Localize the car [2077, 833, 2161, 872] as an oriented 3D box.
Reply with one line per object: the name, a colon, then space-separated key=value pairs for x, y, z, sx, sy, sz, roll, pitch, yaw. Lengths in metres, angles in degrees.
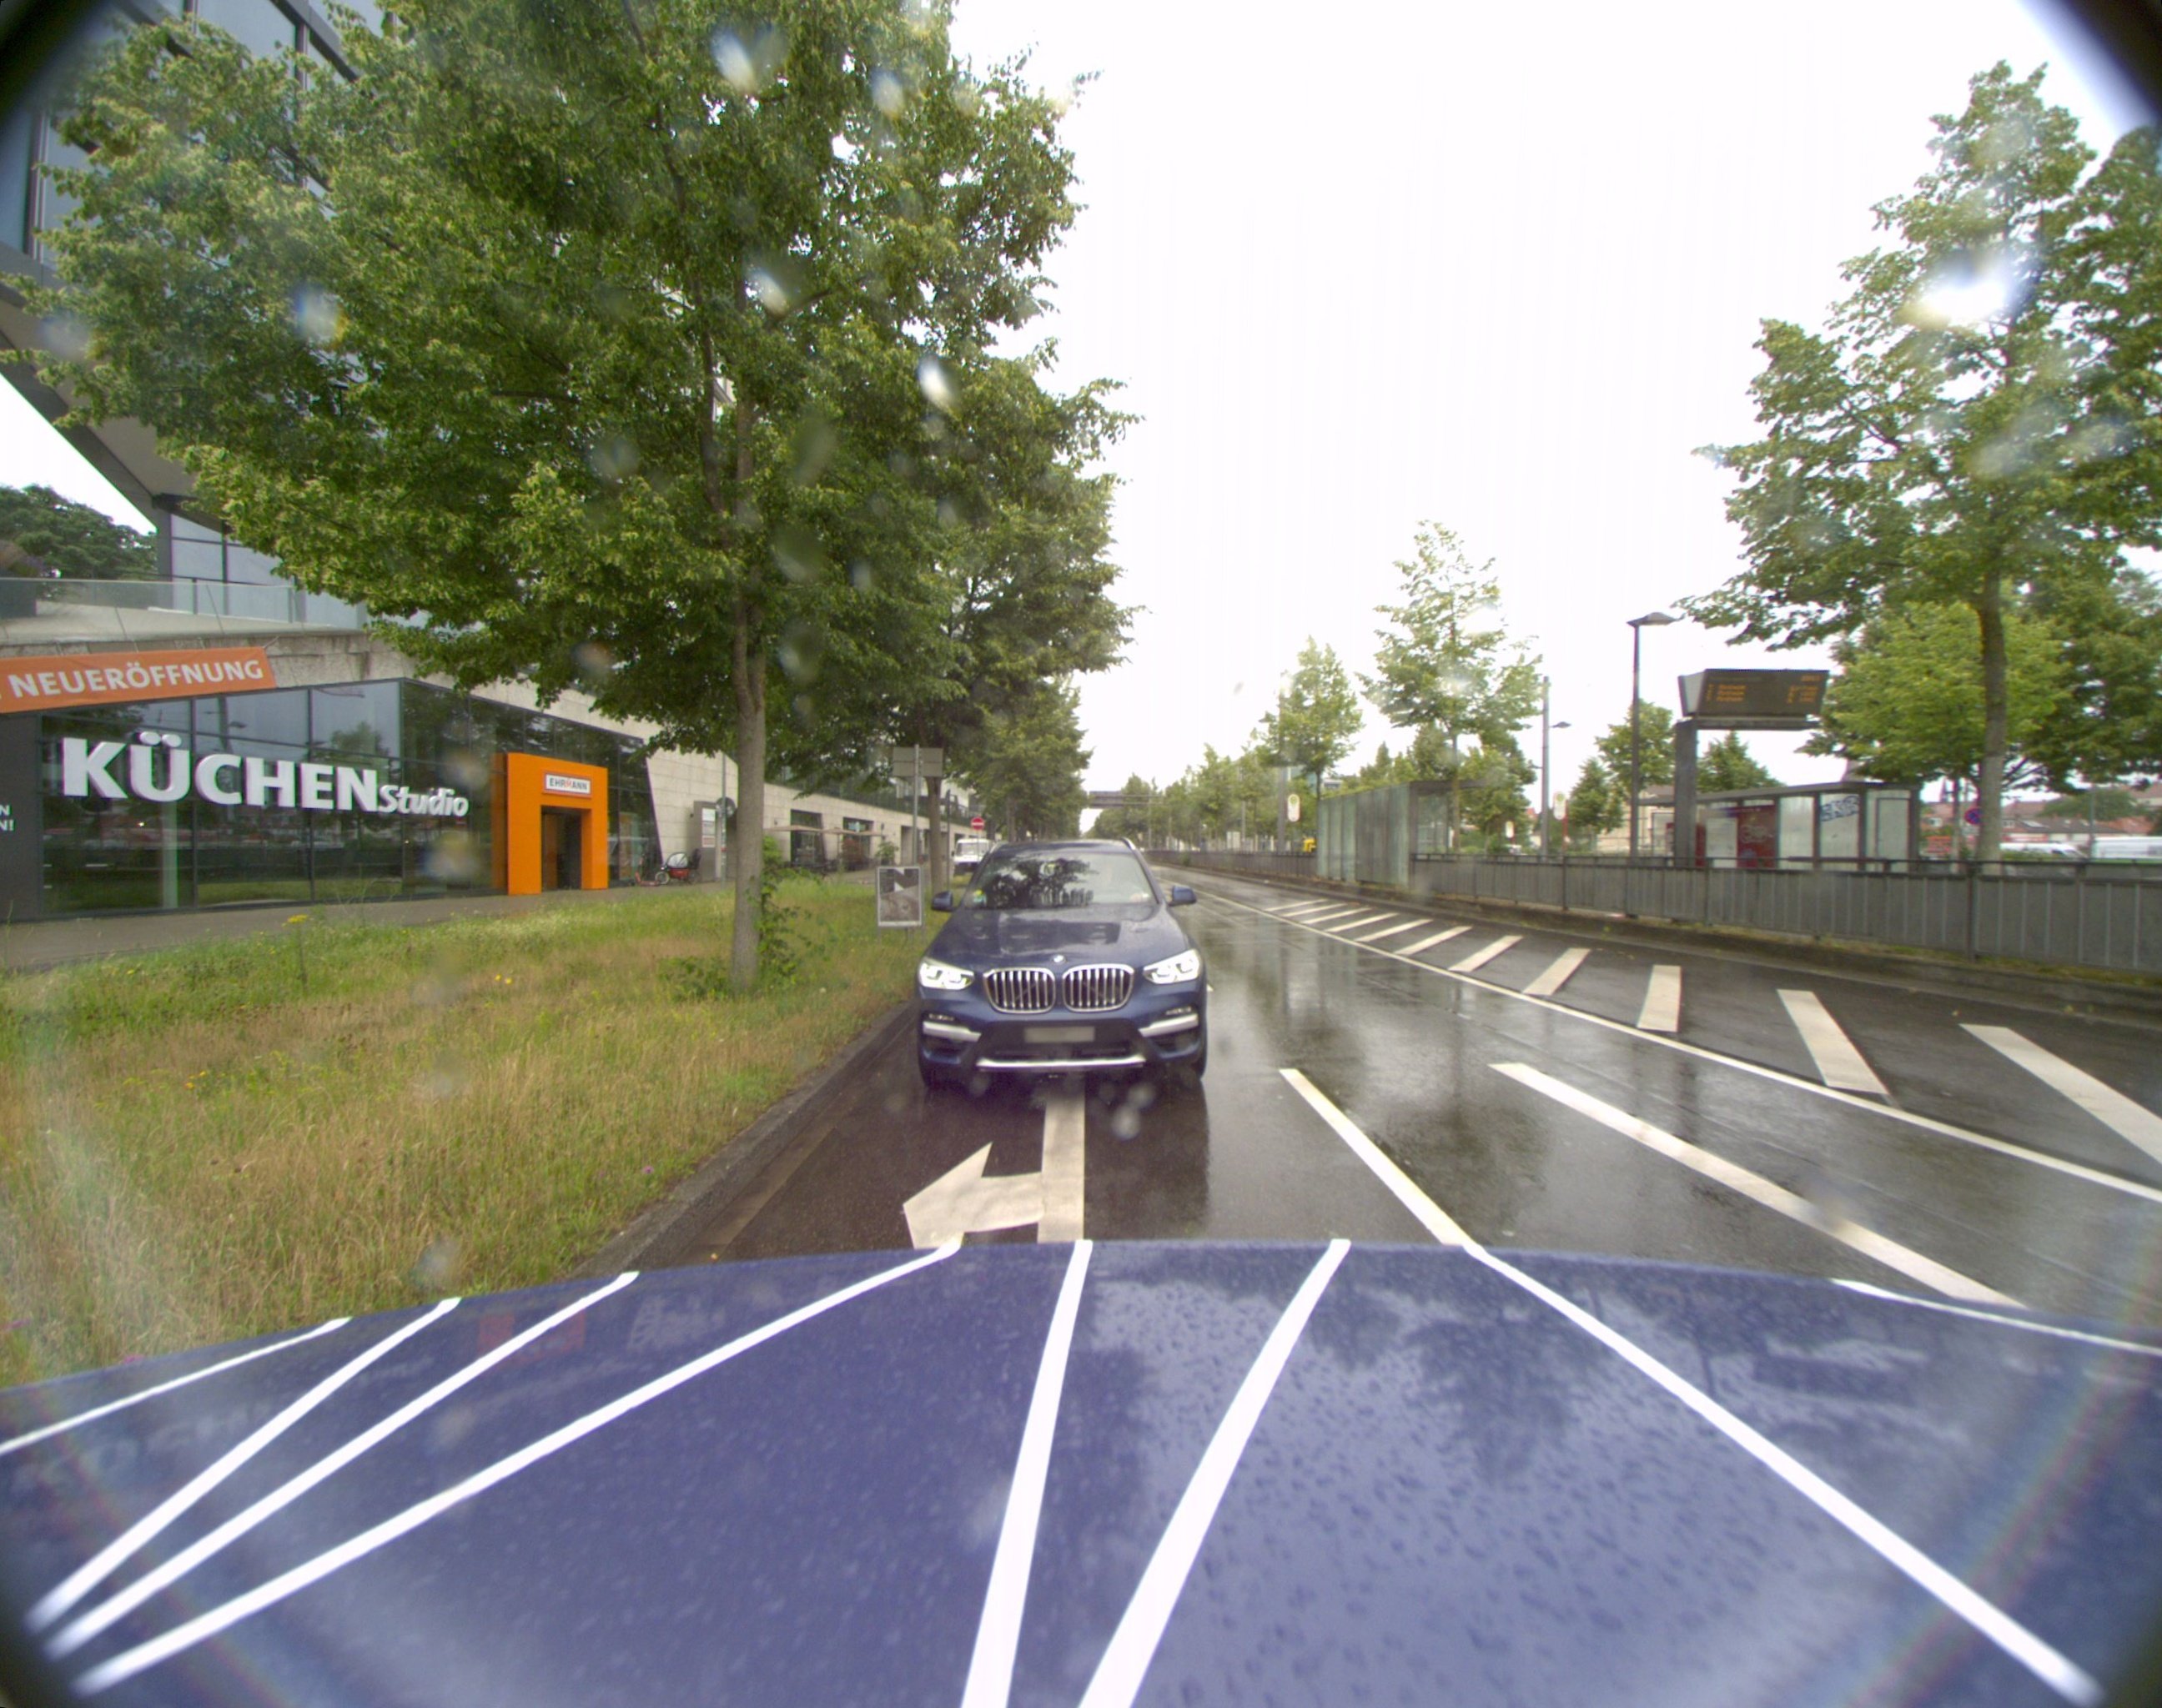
car: x=70.097 y=-0.104 z=49.264 sx=1.999 sy=2.448 sz=6.744 roll=-2 pitch=1 yaw=-4

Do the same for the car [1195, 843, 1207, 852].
car: x=26.948 y=-1.446 z=170.570 sx=1.999 sy=1.736 sz=3.998 roll=-2 pitch=1 yaw=-2

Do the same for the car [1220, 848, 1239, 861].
car: x=22.363 y=0.042 z=114.693 sx=1.762 sy=2.002 sz=3.998 roll=0 pitch=1 yaw=-5

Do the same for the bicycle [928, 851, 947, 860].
bicycle: x=-15.870 y=0.137 z=84.249 sx=2.029 sy=0.940 sz=0.395 roll=1 pitch=1 yaw=-4

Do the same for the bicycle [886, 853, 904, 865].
bicycle: x=-15.156 y=0.375 z=61.970 sx=0.396 sy=0.940 sz=2.024 roll=-4 pitch=2 yaw=-45

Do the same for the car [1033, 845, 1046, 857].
car: x=-6.041 y=-0.451 z=111.453 sx=1.659 sy=1.711 sz=3.999 roll=-2 pitch=1 yaw=0

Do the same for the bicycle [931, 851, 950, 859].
bicycle: x=-16.016 y=0.101 z=86.662 sx=2.029 sy=0.940 sz=0.395 roll=1 pitch=1 yaw=-4

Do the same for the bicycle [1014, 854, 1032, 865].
bicycle: x=-5.560 y=0.504 z=72.963 sx=1.699 sy=0.940 sz=0.395 roll=-2 pitch=2 yaw=-4

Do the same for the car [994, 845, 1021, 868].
car: x=-6.003 y=0.167 z=62.127 sx=1.746 sy=1.749 sz=4.847 roll=-1 pitch=1 yaw=0

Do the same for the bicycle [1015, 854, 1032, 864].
bicycle: x=-5.553 y=0.469 z=73.662 sx=1.649 sy=0.940 sz=0.395 roll=-2 pitch=2 yaw=-4

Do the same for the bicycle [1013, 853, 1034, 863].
bicycle: x=-5.818 y=0.409 z=76.419 sx=2.040 sy=0.940 sz=0.395 roll=-2 pitch=2 yaw=-4

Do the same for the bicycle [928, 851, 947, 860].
bicycle: x=-15.805 y=0.145 z=83.527 sx=2.029 sy=0.940 sz=0.395 roll=1 pitch=1 yaw=-4

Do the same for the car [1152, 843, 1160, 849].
car: x=24.269 y=-2.586 z=245.050 sx=1.999 sy=1.736 sz=3.998 roll=-2 pitch=1 yaw=-2

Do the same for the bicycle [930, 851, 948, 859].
bicycle: x=-15.956 y=0.110 z=85.414 sx=2.029 sy=0.940 sz=0.395 roll=1 pitch=1 yaw=-4

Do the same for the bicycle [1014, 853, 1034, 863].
bicycle: x=-5.663 y=0.421 z=75.496 sx=1.882 sy=0.940 sz=0.395 roll=-2 pitch=2 yaw=-4

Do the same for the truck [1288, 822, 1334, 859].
truck: x=25.601 y=-1.505 z=84.973 sx=2.693 sy=3.756 sz=9.182 roll=-2 pitch=1 yaw=3

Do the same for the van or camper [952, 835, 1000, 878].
van or camper: x=-5.918 y=0.100 z=43.415 sx=2.030 sy=2.279 sz=5.458 roll=-1 pitch=1 yaw=0

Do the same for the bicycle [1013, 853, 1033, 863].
bicycle: x=-5.779 y=0.414 z=75.982 sx=2.007 sy=0.940 sz=0.395 roll=-2 pitch=2 yaw=-4

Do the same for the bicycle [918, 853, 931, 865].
bicycle: x=-13.226 y=0.409 z=64.232 sx=0.402 sy=0.940 sz=1.859 roll=-1 pitch=1 yaw=8

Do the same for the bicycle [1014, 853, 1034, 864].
bicycle: x=-5.624 y=0.433 z=74.937 sx=1.862 sy=0.940 sz=0.395 roll=-2 pitch=2 yaw=-4

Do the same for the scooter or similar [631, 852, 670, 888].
scooter or similar: x=-15.670 y=0.563 z=27.678 sx=0.342 sy=1.221 sz=1.242 roll=-2 pitch=2 yaw=19

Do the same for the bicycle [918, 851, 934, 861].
bicycle: x=-16.214 y=0.200 z=79.649 sx=1.657 sy=0.940 sz=0.347 roll=1 pitch=2 yaw=19

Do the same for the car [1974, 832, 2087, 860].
car: x=84.240 y=-0.735 z=67.580 sx=2.000 sy=2.293 sz=6.138 roll=-3 pitch=1 yaw=-9

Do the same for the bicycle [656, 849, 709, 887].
bicycle: x=-15.414 y=0.504 z=29.486 sx=0.734 sy=1.394 sz=2.425 roll=1 pitch=0 yaw=1

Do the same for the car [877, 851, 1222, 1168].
car: x=-0.140 y=0.847 z=6.143 sx=1.816 sy=1.603 sz=3.999 roll=-2 pitch=1 yaw=1

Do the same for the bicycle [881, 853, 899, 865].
bicycle: x=-15.403 y=0.397 z=61.351 sx=0.396 sy=0.940 sz=2.024 roll=-4 pitch=2 yaw=-45

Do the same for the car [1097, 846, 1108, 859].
car: x=3.903 y=-0.242 z=139.181 sx=1.998 sy=2.232 sz=3.999 roll=-2 pitch=1 yaw=1

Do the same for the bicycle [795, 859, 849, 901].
bicycle: x=-8.613 y=0.863 z=25.283 sx=1.843 sy=1.338 sz=0.533 roll=-1 pitch=0 yaw=26

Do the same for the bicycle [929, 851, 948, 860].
bicycle: x=-15.912 y=0.130 z=84.837 sx=2.029 sy=0.940 sz=0.395 roll=1 pitch=1 yaw=-4
